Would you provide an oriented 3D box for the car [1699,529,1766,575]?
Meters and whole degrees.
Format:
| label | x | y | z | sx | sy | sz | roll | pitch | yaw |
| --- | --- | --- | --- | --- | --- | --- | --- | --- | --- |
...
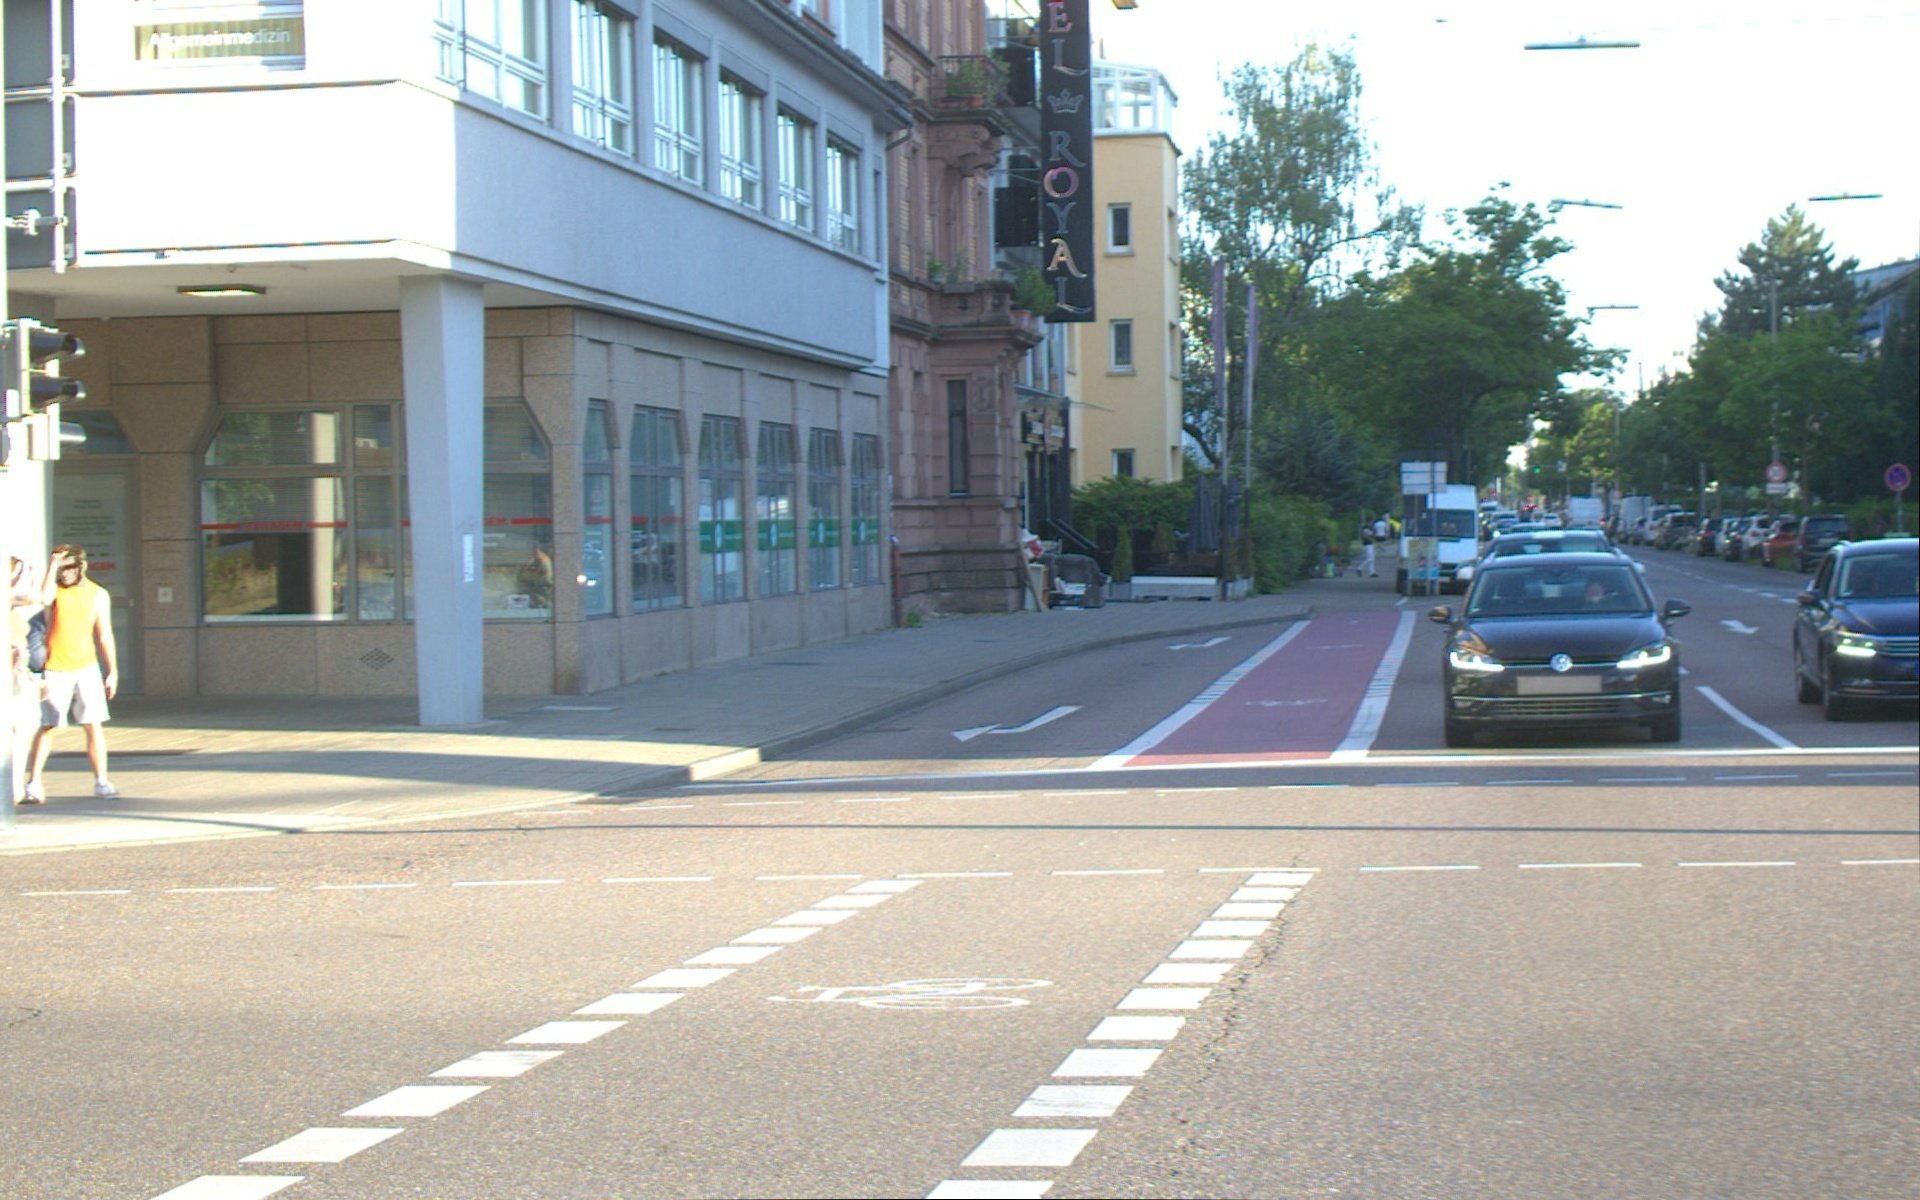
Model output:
| label | x | y | z | sx | sy | sz | roll | pitch | yaw |
| --- | --- | --- | --- | --- | --- | --- | --- | --- | --- |
| car | 26.804 | -1.669 | 119.387 | 1.994 | 1.512 | 4.219 | -1 | 1 | 9 |

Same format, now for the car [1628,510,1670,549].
| label | x | y | z | sx | sy | sz | roll | pitch | yaw |
| --- | --- | --- | --- | --- | --- | --- | --- | --- | --- |
| car | 36.303 | -3.725 | 181.167 | 1.994 | 2.043 | 4.219 | -1 | 1 | 9 |

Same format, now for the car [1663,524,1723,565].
| label | x | y | z | sx | sy | sz | roll | pitch | yaw |
| --- | --- | --- | --- | --- | --- | --- | --- | --- | --- |
| car | 28.144 | -2.156 | 132.073 | 1.994 | 1.512 | 4.219 | -1 | 1 | 9 |

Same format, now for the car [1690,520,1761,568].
| label | x | y | z | sx | sy | sz | roll | pitch | yaw |
| --- | --- | --- | --- | --- | --- | --- | --- | --- | --- |
| car | 25.434 | -1.884 | 114.338 | 1.994 | 1.512 | 4.219 | -1 | 1 | 9 |

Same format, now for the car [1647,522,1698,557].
| label | x | y | z | sx | sy | sz | roll | pitch | yaw |
| --- | --- | --- | --- | --- | --- | --- | --- | --- | --- |
| car | 32.152 | -2.733 | 155.202 | 1.994 | 1.512 | 4.219 | -1 | 1 | 9 |

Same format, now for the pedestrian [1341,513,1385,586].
| label | x | y | z | sx | sy | sz | roll | pitch | yaw |
| --- | --- | --- | --- | --- | --- | --- | --- | --- | --- |
| pedestrian | 11.354 | -1.431 | 96.834 | 1.023 | 2.007 | 0.945 | -1 | 1 | -5 |

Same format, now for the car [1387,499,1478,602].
| label | x | y | z | sx | sy | sz | roll | pitch | yaw |
| --- | --- | --- | --- | --- | --- | --- | --- | --- | --- |
| car | 11.060 | -1.185 | 80.262 | 1.994 | 2.316 | 4.219 | -1 | 1 | 9 |

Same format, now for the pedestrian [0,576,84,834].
| label | x | y | z | sx | sy | sz | roll | pitch | yaw |
| --- | --- | --- | --- | --- | --- | --- | --- | --- | --- |
| pedestrian | -6.308 | 0.691 | 22.878 | 0.728 | 1.679 | 0.585 | -1 | 1 | 7 |

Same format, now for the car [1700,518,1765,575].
| label | x | y | z | sx | sy | sz | roll | pitch | yaw |
| --- | --- | --- | --- | --- | --- | --- | --- | --- | --- |
| car | 27.915 | -1.960 | 124.299 | 1.994 | 1.990 | 4.219 | -1 | 1 | 9 |

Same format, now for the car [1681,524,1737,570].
| label | x | y | z | sx | sy | sz | roll | pitch | yaw |
| --- | --- | --- | --- | --- | --- | --- | --- | --- | --- |
| car | 31.261 | -2.239 | 143.609 | 1.994 | 1.827 | 4.219 | -1 | 1 | 9 |

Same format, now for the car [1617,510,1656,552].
| label | x | y | z | sx | sy | sz | roll | pitch | yaw |
| --- | --- | --- | --- | --- | --- | --- | --- | --- | --- |
| car | 38.678 | -3.953 | 196.649 | 1.994 | 2.368 | 3.999 | -1 | 1 | 9 |

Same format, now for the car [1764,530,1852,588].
| label | x | y | z | sx | sy | sz | roll | pitch | yaw |
| --- | --- | --- | --- | --- | --- | --- | --- | --- | --- |
| car | 23.403 | -1.149 | 94.985 | 1.994 | 1.512 | 4.219 | -1 | 1 | 9 |

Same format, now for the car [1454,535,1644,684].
| label | x | y | z | sx | sy | sz | roll | pitch | yaw |
| --- | --- | --- | --- | --- | --- | --- | --- | --- | --- |
| car | 6.692 | 0.073 | 39.107 | 1.994 | 1.526 | 3.999 | -1 | 2 | 10 |

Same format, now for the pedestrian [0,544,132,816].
| label | x | y | z | sx | sy | sz | roll | pitch | yaw |
| --- | --- | --- | --- | --- | --- | --- | --- | --- | --- |
| pedestrian | -6.164 | 0.536 | 23.486 | 0.711 | 1.812 | 0.752 | -1 | 1 | 8 |

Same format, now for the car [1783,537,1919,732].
| label | x | y | z | sx | sy | sz | roll | pitch | yaw |
| --- | --- | --- | --- | --- | --- | --- | --- | --- | --- |
| car | 8.036 | 0.234 | 28.952 | 1.994 | 1.481 | 3.998 | -1 | 1 | 11 |

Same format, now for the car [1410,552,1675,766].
| label | x | y | z | sx | sy | sz | roll | pitch | yaw |
| --- | --- | --- | --- | --- | --- | --- | --- | --- | --- |
| car | 4.622 | 0.407 | 26.948 | 1.881 | 1.481 | 3.998 | -1 | 1 | 11 |

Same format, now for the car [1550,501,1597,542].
| label | x | y | z | sx | sy | sz | roll | pitch | yaw |
| --- | --- | --- | --- | --- | --- | --- | --- | --- | --- |
| car | 36.465 | -4.687 | 204.516 | 2.618 | 2.368 | 5.254 | -1 | 1 | 9 |
